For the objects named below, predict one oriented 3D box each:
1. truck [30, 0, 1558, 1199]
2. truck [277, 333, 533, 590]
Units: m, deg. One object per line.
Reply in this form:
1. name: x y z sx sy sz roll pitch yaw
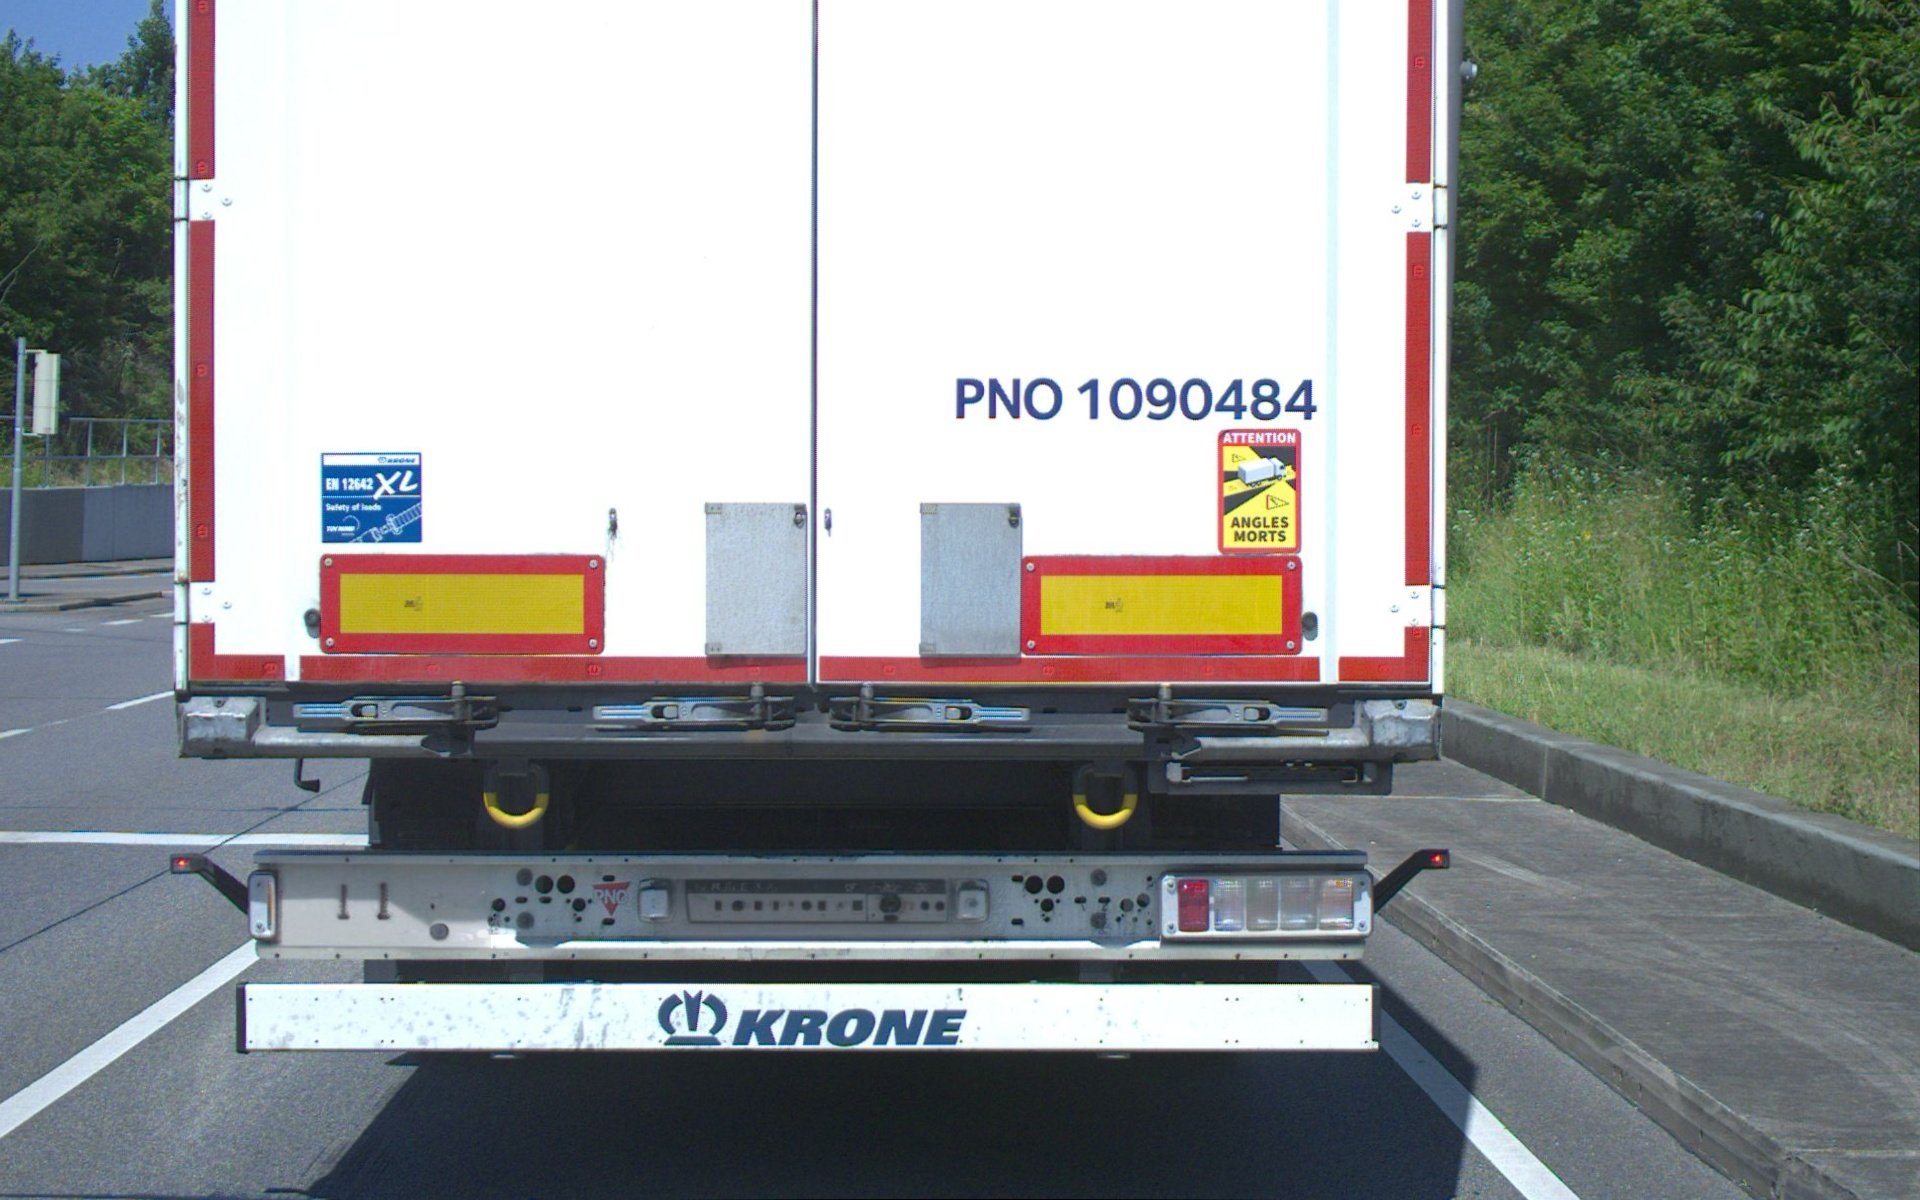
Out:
1. truck: -0.406 -1.092 11.620 2.949 4.553 9.864 1 1 -1
2. truck: -8.921 -2.254 56.720 2.353 3.737 12.627 1 2 -1
